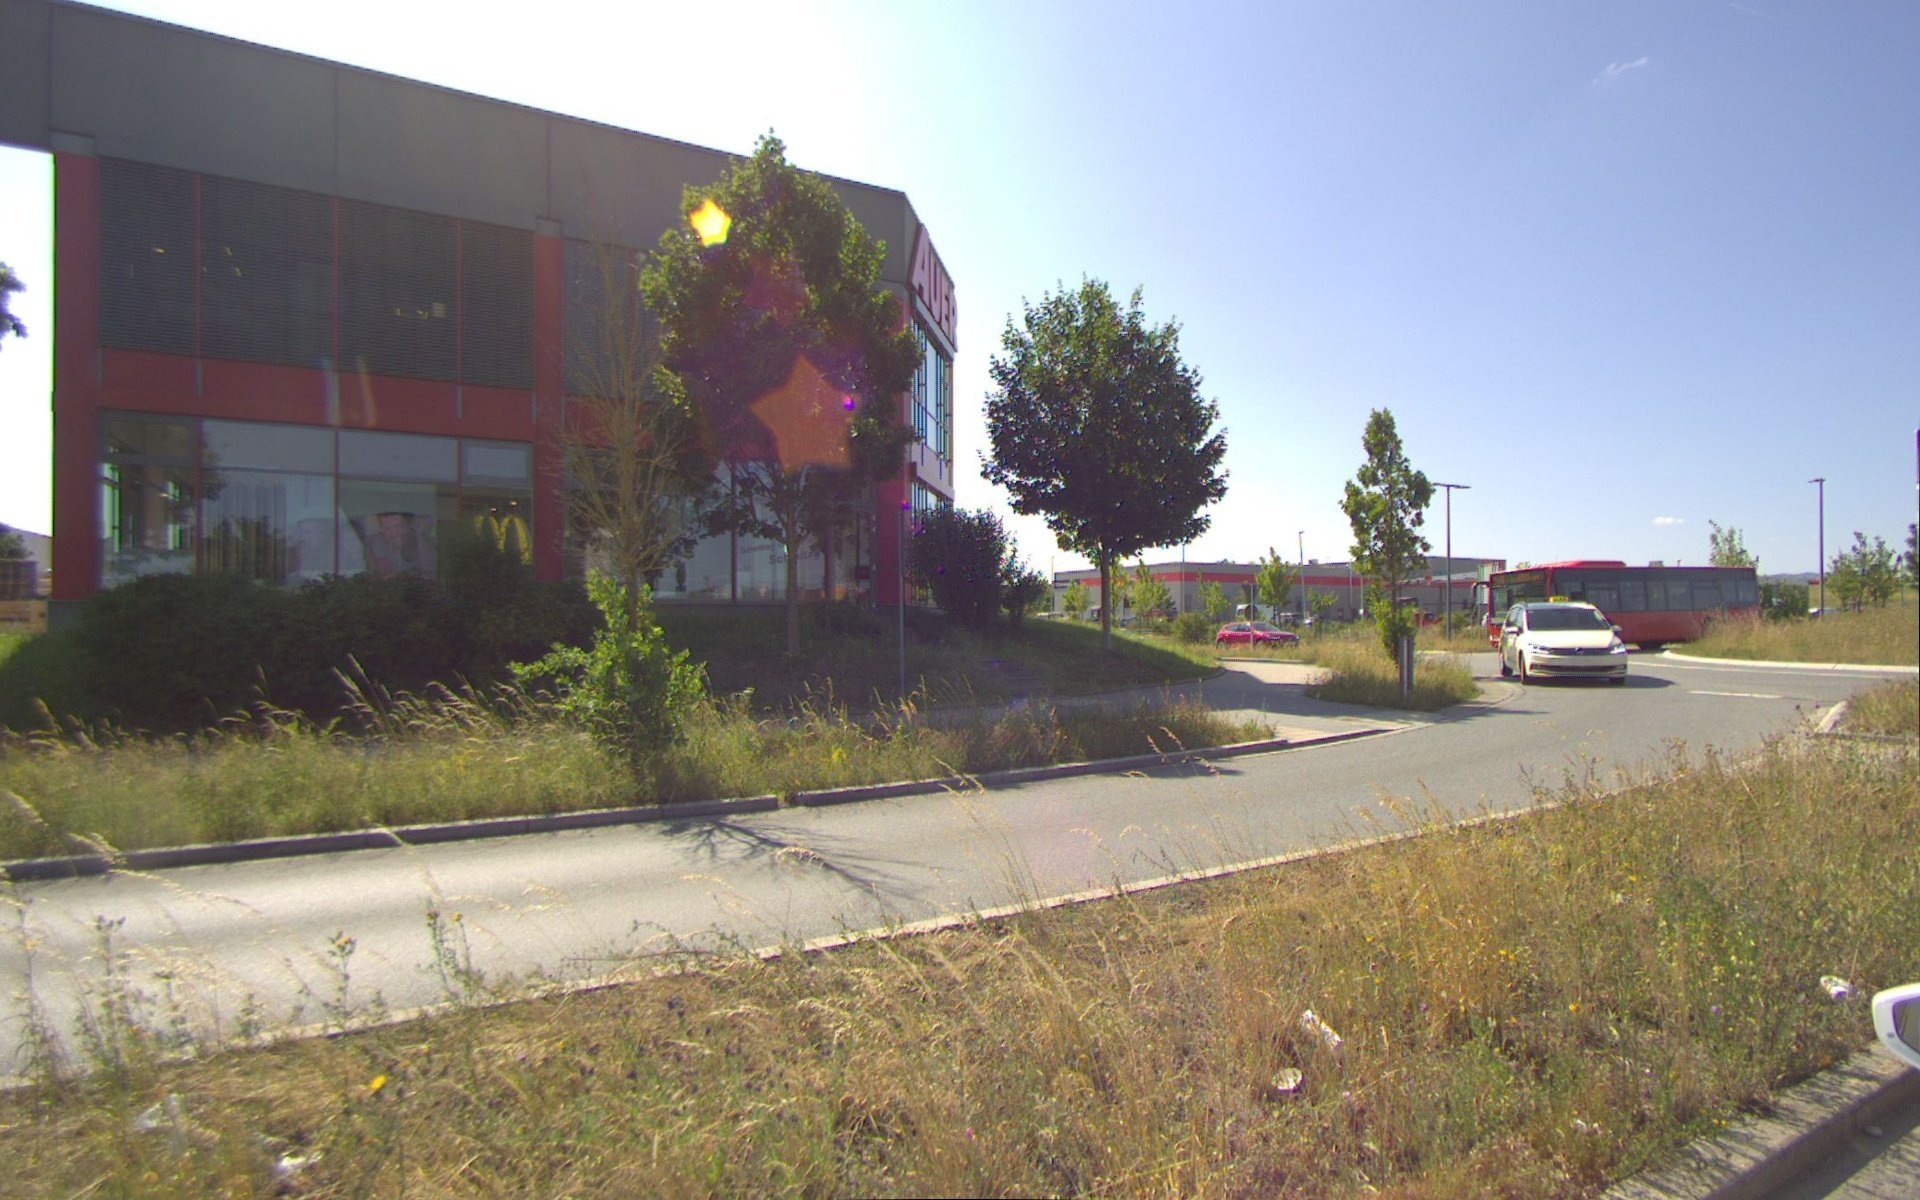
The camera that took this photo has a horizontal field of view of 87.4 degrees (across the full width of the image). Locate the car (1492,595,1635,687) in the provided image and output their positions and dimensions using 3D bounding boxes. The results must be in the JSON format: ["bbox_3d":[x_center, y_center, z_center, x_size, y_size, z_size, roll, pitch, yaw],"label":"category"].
[{"bbox_3d":[12.589,0.846,21.258,1.811,1.687,4.588,-3,-2,22],"label":"car"}]

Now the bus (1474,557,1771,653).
[{"bbox_3d":[24.254,0.113,36.531,12.028,3.120,2.781,-1,-2,-23],"label":"bus"}]

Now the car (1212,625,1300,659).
[{"bbox_3d":[13.054,1.824,44.458,1.551,1.405,3.977,0,-1,-24],"label":"car"}]
